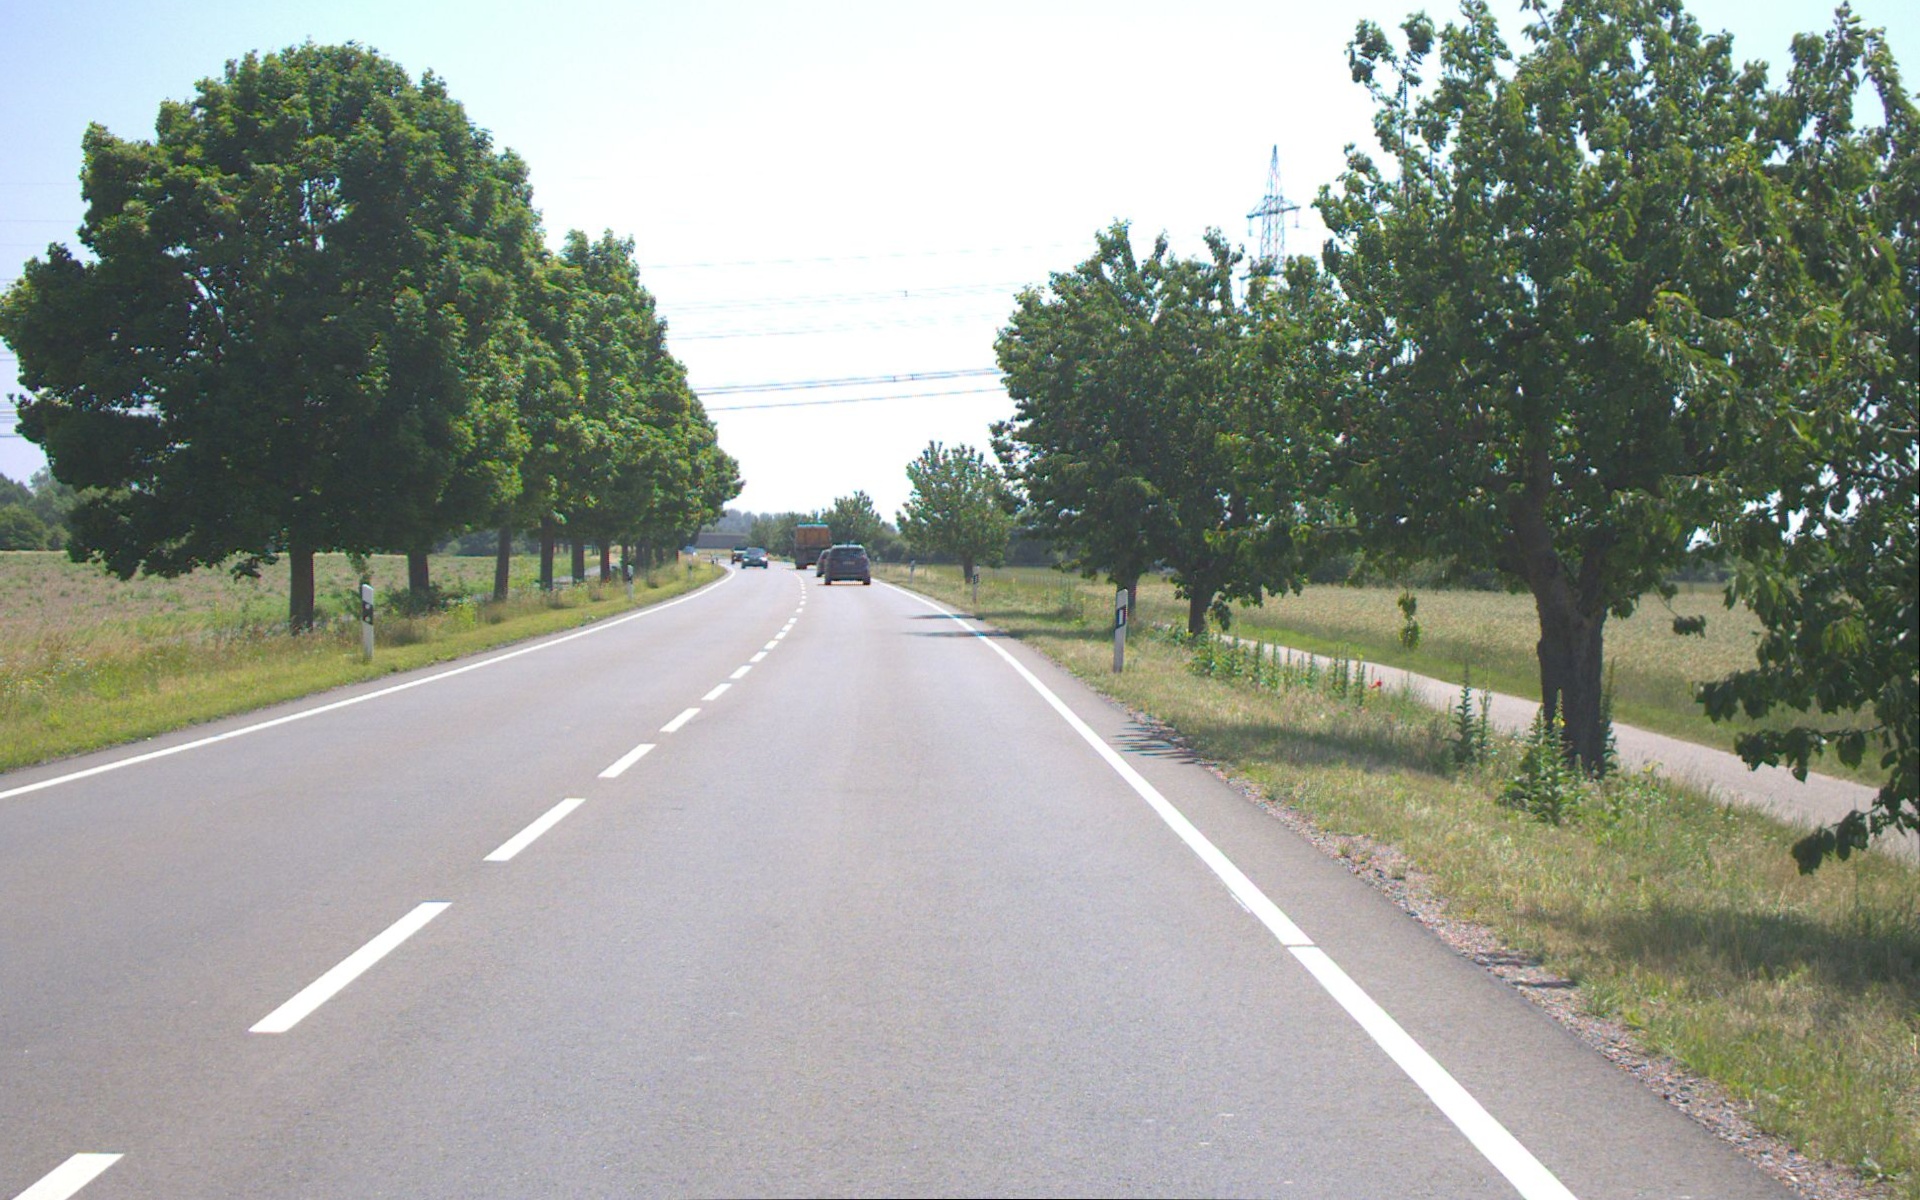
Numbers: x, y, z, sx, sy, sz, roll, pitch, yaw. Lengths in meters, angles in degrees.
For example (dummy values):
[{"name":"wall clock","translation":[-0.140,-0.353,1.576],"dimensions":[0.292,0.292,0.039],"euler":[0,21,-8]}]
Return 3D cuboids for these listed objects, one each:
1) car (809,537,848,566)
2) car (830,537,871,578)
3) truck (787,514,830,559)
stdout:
[{"name":"car","translation":[-7.059,-2.570,184.108],"dimensions":[1.850,1.517,4.001],"euler":[0,1,-6]},{"name":"car","translation":[-4.604,-1.776,144.524],"dimensions":[1.714,1.688,3.989],"euler":[0,1,-2]},{"name":"truck","translation":[-10.890,-4.537,246.244],"dimensions":[2.370,3.129,8.750],"euler":[1,1,-7]}]
